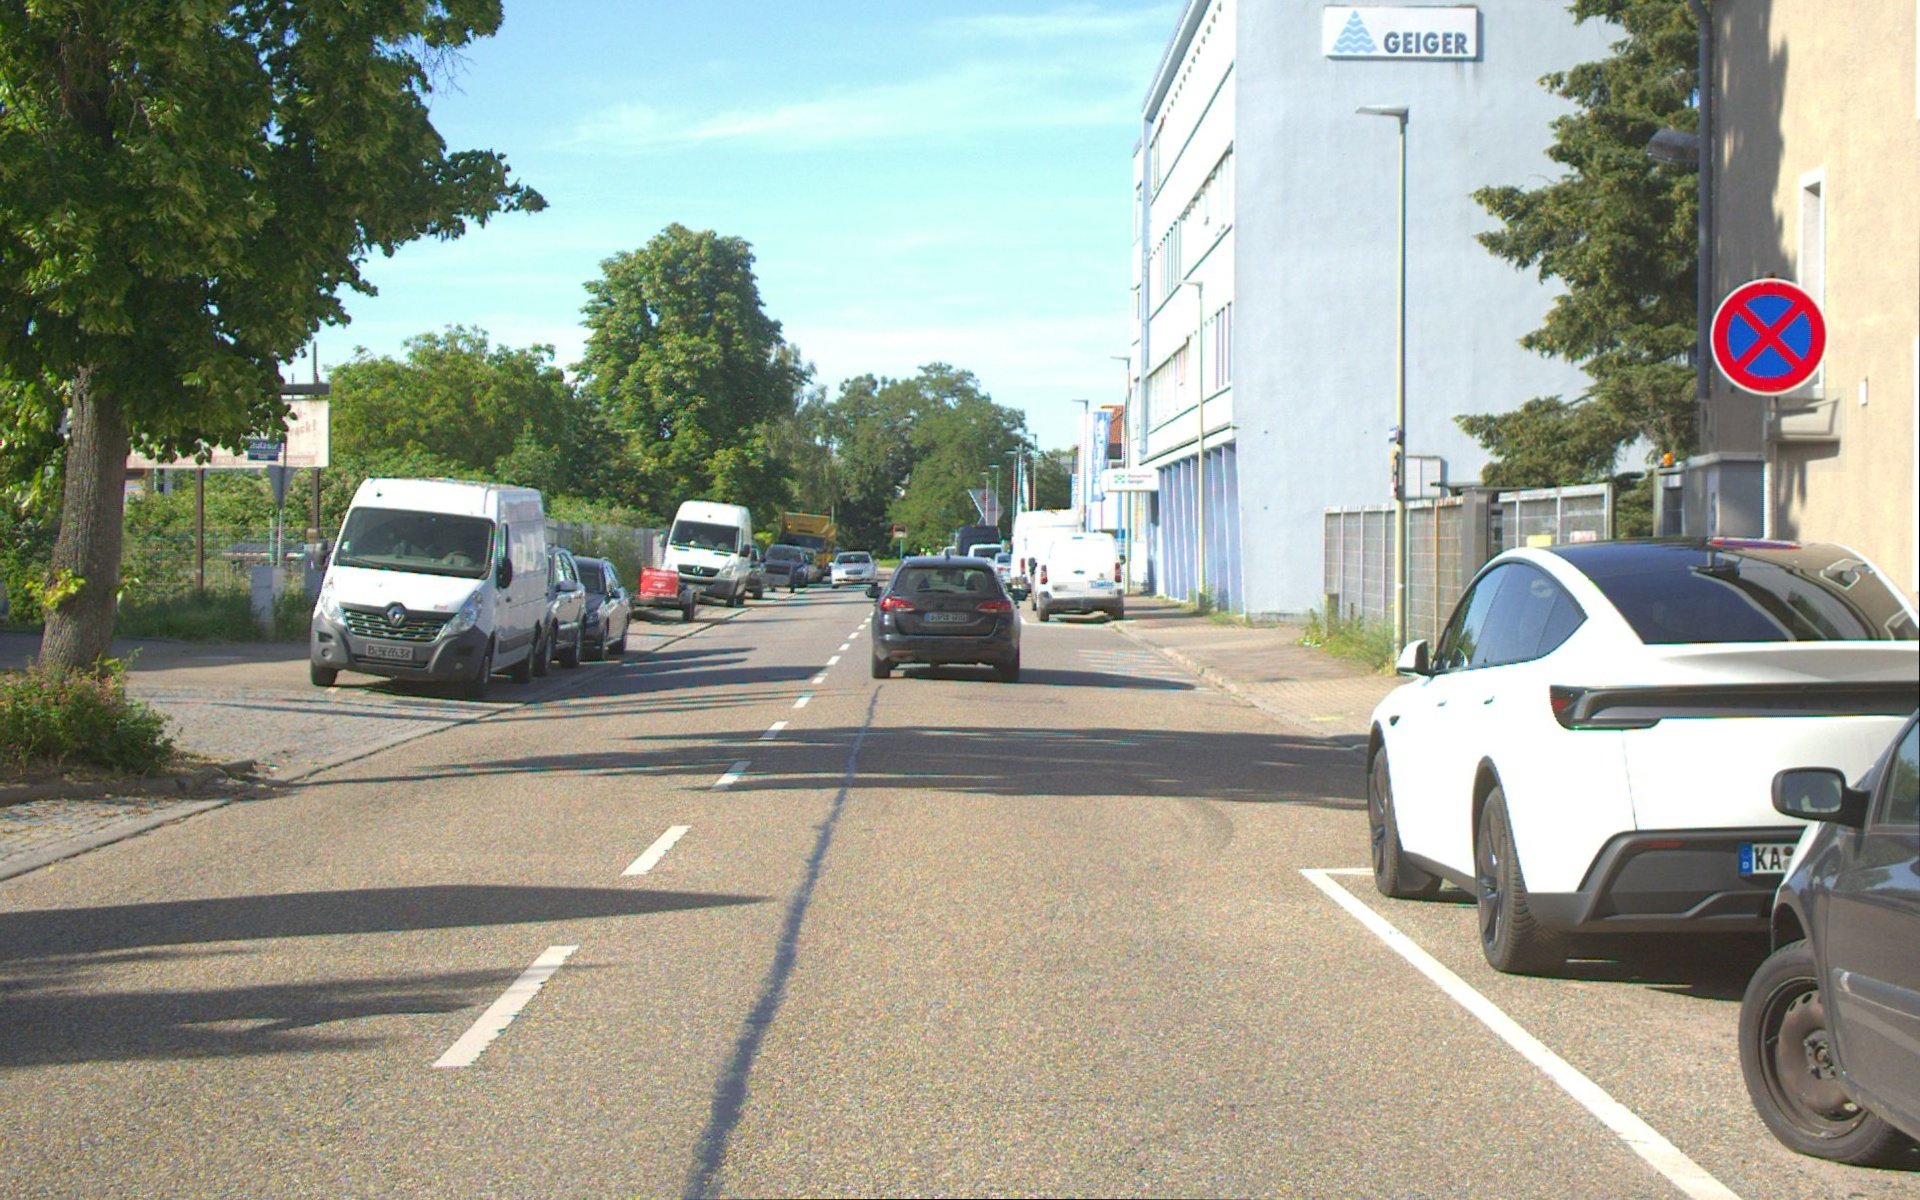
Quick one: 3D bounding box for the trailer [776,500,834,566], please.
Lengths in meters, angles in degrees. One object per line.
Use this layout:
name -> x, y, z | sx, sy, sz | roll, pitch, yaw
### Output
trailer -> -8.264, -3.553, 183.876 | 2.991, 3.431, 8.162 | 0, 1, -2

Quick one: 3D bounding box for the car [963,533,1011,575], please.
car -> 1.193, -2.053, 154.938 | 1.885, 1.791, 5.104 | 2, 0, -2

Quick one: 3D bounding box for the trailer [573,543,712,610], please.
trailer -> -6.567, -0.520, 71.706 | 2.376, 1.076, 6.246 | 4, 2, -1

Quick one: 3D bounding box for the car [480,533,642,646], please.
car -> -6.025, -0.204, 52.390 | 1.799, 1.505, 5.003 | 4, 1, 0

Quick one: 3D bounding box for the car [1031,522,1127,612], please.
car -> 2.490, -0.723, 73.195 | 1.889, 1.826, 5.090 | 1, 1, 1

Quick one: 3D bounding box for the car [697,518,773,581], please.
car -> -6.764, -1.541, 103.588 | 2.030, 1.688, 5.107 | 4, 1, -2

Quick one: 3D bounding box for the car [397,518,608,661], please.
car -> -6.205, -0.181, 47.107 | 1.994, 1.732, 4.574 | 4, 1, 2

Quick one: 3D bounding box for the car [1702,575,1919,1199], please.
car -> 2.820, 0.706, 7.768 | 1.599, 1.468, 4.189 | 0, 1, 3

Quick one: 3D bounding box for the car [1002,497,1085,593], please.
car -> 2.362, -1.616, 98.841 | 1.993, 2.589, 6.052 | -1, 2, -2

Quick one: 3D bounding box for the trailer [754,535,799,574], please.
trailer -> -6.654, -1.649, 124.820 | 1.476, 1.349, 3.079 | 2, 1, -1

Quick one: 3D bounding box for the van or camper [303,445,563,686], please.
van or camper -> -6.249, -0.461, 41.549 | 2.070, 2.540, 6.404 | 4, 1, -1

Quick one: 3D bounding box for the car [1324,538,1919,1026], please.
car -> 2.794, 0.576, 14.086 | 1.931, 1.639, 4.770 | 0, 1, -2

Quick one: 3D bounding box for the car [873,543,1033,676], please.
car -> -0.086, 0.082, 41.894 | 1.847, 1.525, 4.000 | 0, 1, 0

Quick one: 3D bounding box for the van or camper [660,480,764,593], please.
van or camper -> -6.474, -1.673, 90.326 | 1.966, 2.676, 5.948 | 5, 1, 1

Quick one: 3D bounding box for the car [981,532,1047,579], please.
car -> 1.709, -1.420, 110.593 | 1.894, 1.400, 5.124 | 2, 0, -1

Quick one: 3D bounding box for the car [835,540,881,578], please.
car -> -4.032, -1.631, 136.498 | 1.747, 1.442, 4.361 | 1, 1, -1

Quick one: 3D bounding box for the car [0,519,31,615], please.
car -> -17.671, -0.560, 56.617 | 4.159, 1.568, 1.915 | 1, 1, 10

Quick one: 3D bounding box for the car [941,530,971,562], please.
car -> -0.273, -3.466, 221.440 | 1.874, 2.007, 5.160 | 2, 0, 0
